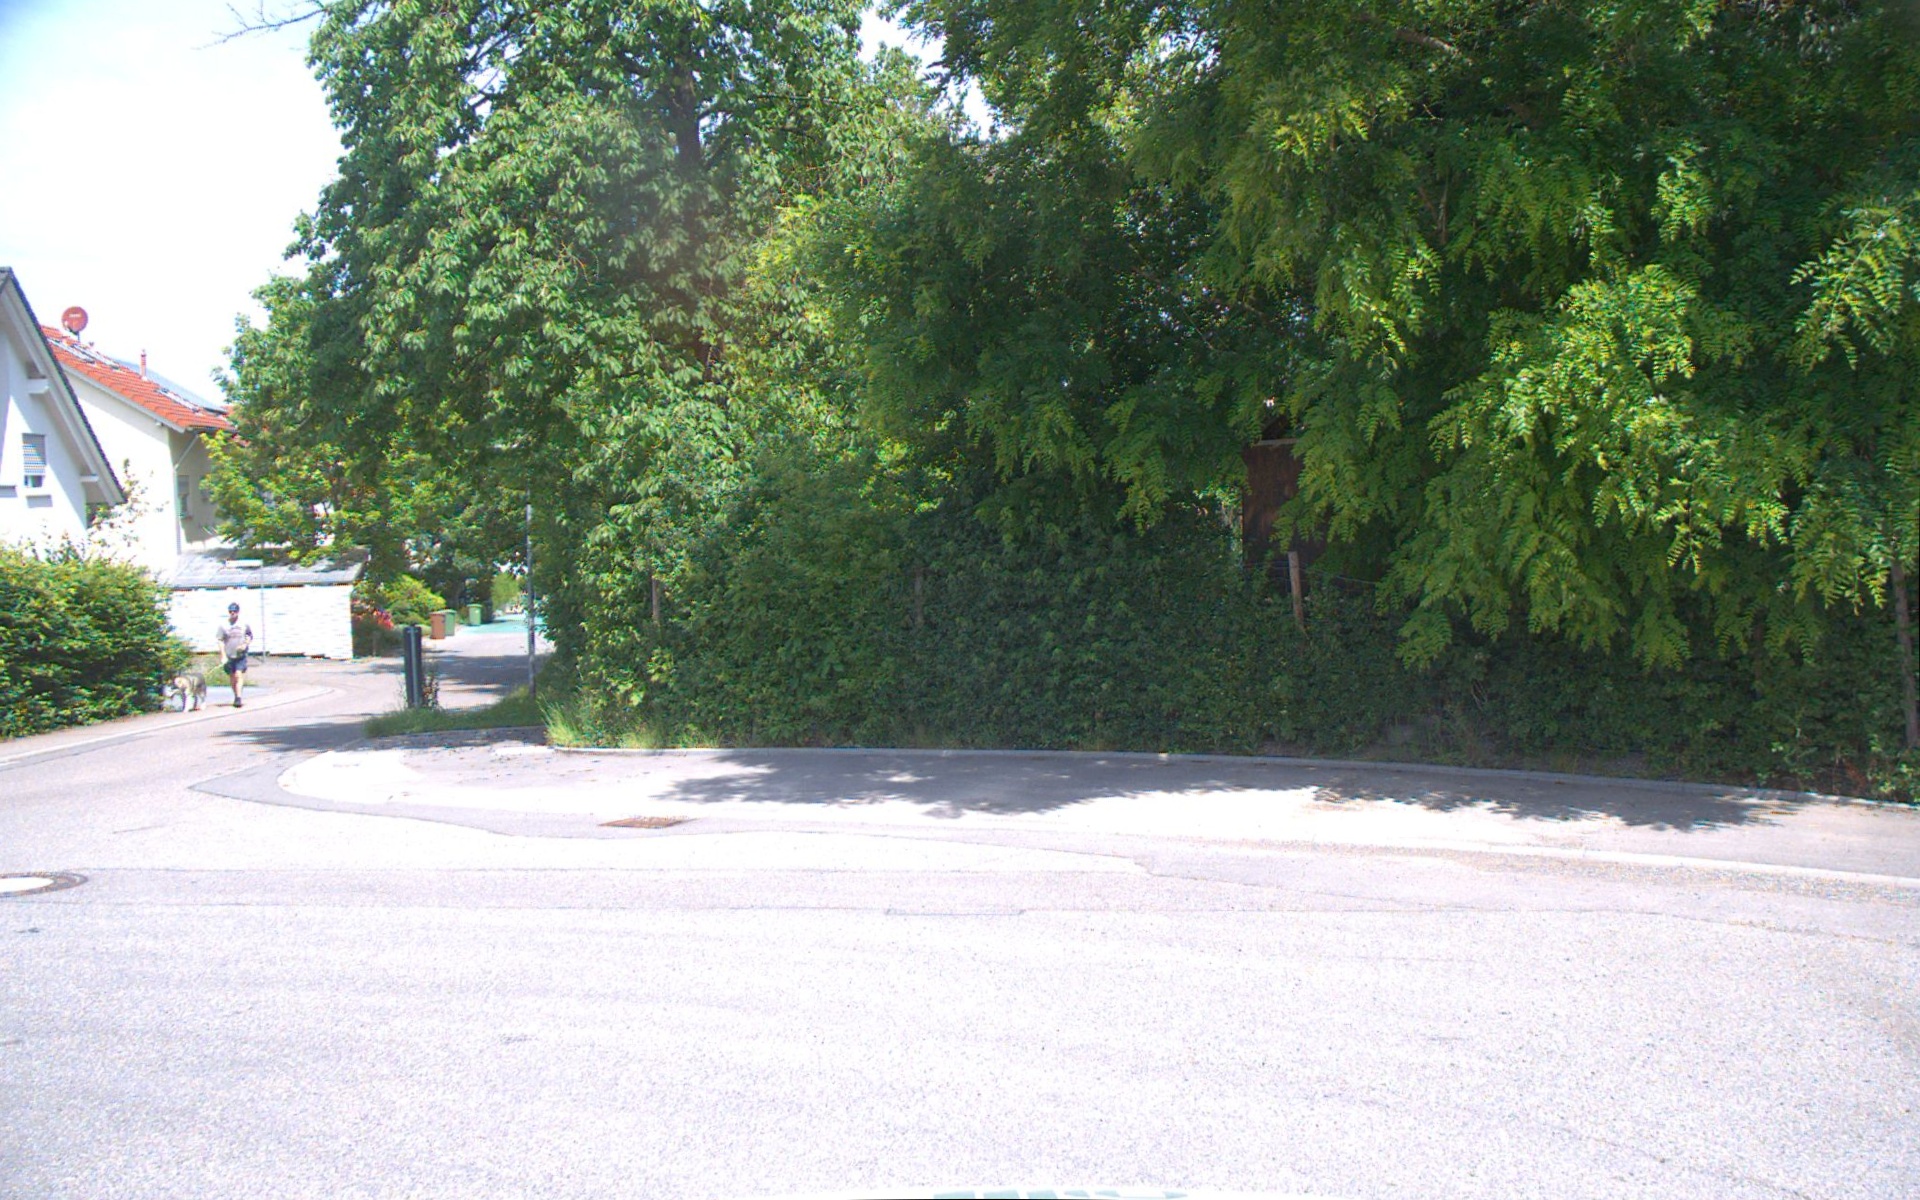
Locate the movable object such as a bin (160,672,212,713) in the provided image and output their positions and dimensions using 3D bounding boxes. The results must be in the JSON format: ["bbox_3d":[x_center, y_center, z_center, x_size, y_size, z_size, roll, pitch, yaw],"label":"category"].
[{"bbox_3d":[-12.944,1.543,27.669,0.538,0.640,1.018,-1,-2,-11],"label":"movable object such as a bin"}]

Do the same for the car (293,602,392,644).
[{"bbox_3d":[-22.594,0.822,60.548,3.368,1.444,1.576,0,1,-23],"label":"car"}]

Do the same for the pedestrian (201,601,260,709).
[{"bbox_3d":[-12.857,0.969,29.174,0.833,1.852,0.831,-1,-3,-17],"label":"pedestrian"}]
